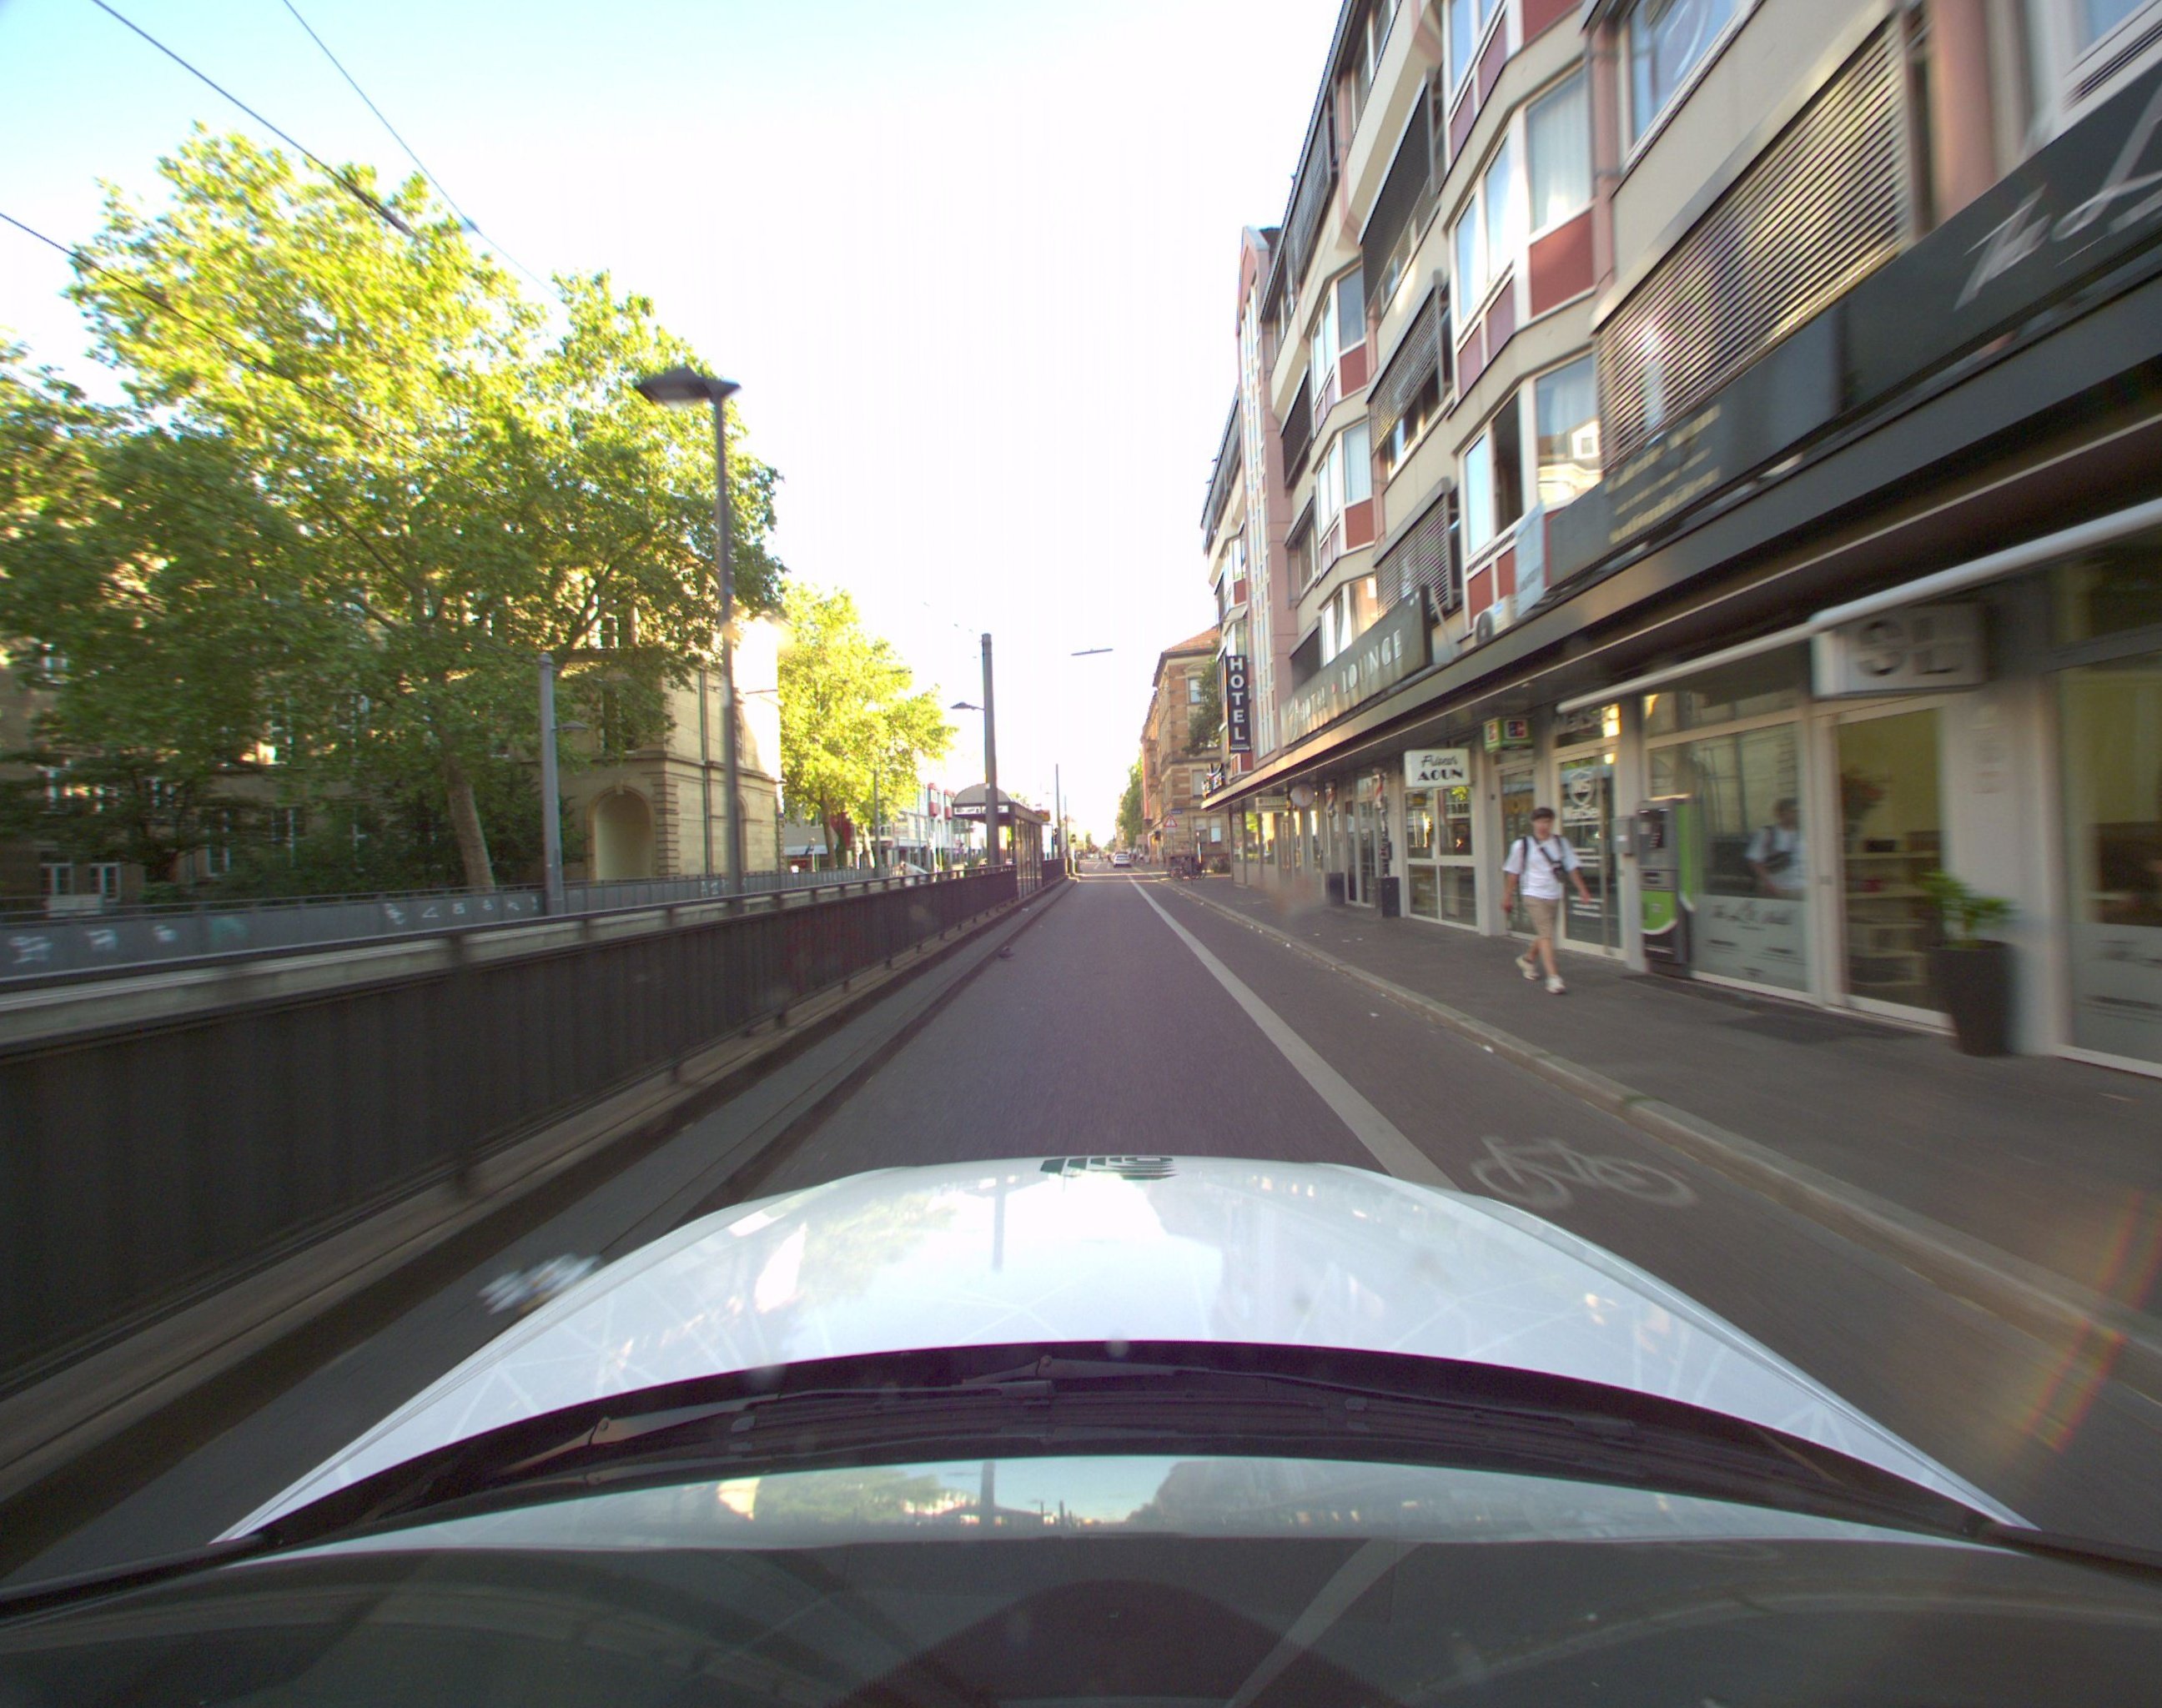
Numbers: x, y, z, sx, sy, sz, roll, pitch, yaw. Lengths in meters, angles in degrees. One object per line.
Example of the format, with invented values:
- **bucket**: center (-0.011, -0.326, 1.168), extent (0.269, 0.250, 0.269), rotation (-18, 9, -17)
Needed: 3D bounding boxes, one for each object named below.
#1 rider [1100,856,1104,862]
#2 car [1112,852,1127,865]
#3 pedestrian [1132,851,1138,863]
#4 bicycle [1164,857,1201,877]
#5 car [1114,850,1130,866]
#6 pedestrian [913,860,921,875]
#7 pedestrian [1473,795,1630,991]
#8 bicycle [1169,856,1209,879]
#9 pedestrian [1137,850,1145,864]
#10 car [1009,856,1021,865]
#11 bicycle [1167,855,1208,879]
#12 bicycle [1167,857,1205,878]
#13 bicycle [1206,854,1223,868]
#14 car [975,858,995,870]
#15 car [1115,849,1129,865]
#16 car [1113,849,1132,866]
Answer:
- **rider**: center (4.753, 1.131, 187.856), extent (0.880, 1.481, 0.713), rotation (0, -1, 2)
- **car**: center (5.608, 0.640, 119.539), extent (1.943, 1.788, 5.181), rotation (-1, 0, 1)
- **pedestrian**: center (7.991, 0.441, 120.077), extent (0.772, 1.567, 0.914), rotation (-5, 0, 3)
- **bicycle**: center (5.469, 0.697, 43.969), extent (1.829, 1.054, 0.710), rotation (-2, 0, -2)
- **car**: center (5.171, 0.489, 103.432), extent (1.947, 1.869, 4.992), rotation (-1, 0, 3)
- **pedestrian**: center (-18.869, 1.555, 93.917), extent (0.741, 1.712, 0.615), rotation (-2, 0, -2)
- **pedestrian**: center (4.537, 0.364, 7.954), extent (0.795, 1.722, 1.062), rotation (-5, -1, 3)
- **bicycle**: center (5.421, 0.664, 40.907), extent (1.908, 1.047, 0.681), rotation (-2, 0, -2)
- **pedestrian**: center (7.300, 0.350, 98.763), extent (0.772, 1.567, 0.915), rotation (-5, 0, 4)
- **car**: center (-12.193, 1.221, 149.639), extent (1.864, 1.600, 4.252), rotation (-2, 0, -1)
- **bicycle**: center (5.423, 0.669, 41.565), extent (1.965, 1.104, 0.614), rotation (-3, 0, -2)
- **bicycle**: center (5.437, 0.692, 42.294), extent (1.829, 1.054, 0.717), rotation (-2, 0, -2)
- **bicycle**: center (9.687, 0.520, 59.189), extent (0.452, 1.024, 1.896), rotation (-2, 0, -17)
- **car**: center (-13.597, 1.415, 115.507), extent (2.083, 1.713, 4.819), rotation (-1, -1, 1)
- **car**: center (5.762, 0.442, 114.153), extent (1.697, 2.120, 3.711), rotation (-1, -1, 5)
- **car**: center (4.658, 0.373, 91.429), extent (1.959, 1.771, 4.878), rotation (-1, 0, 3)
